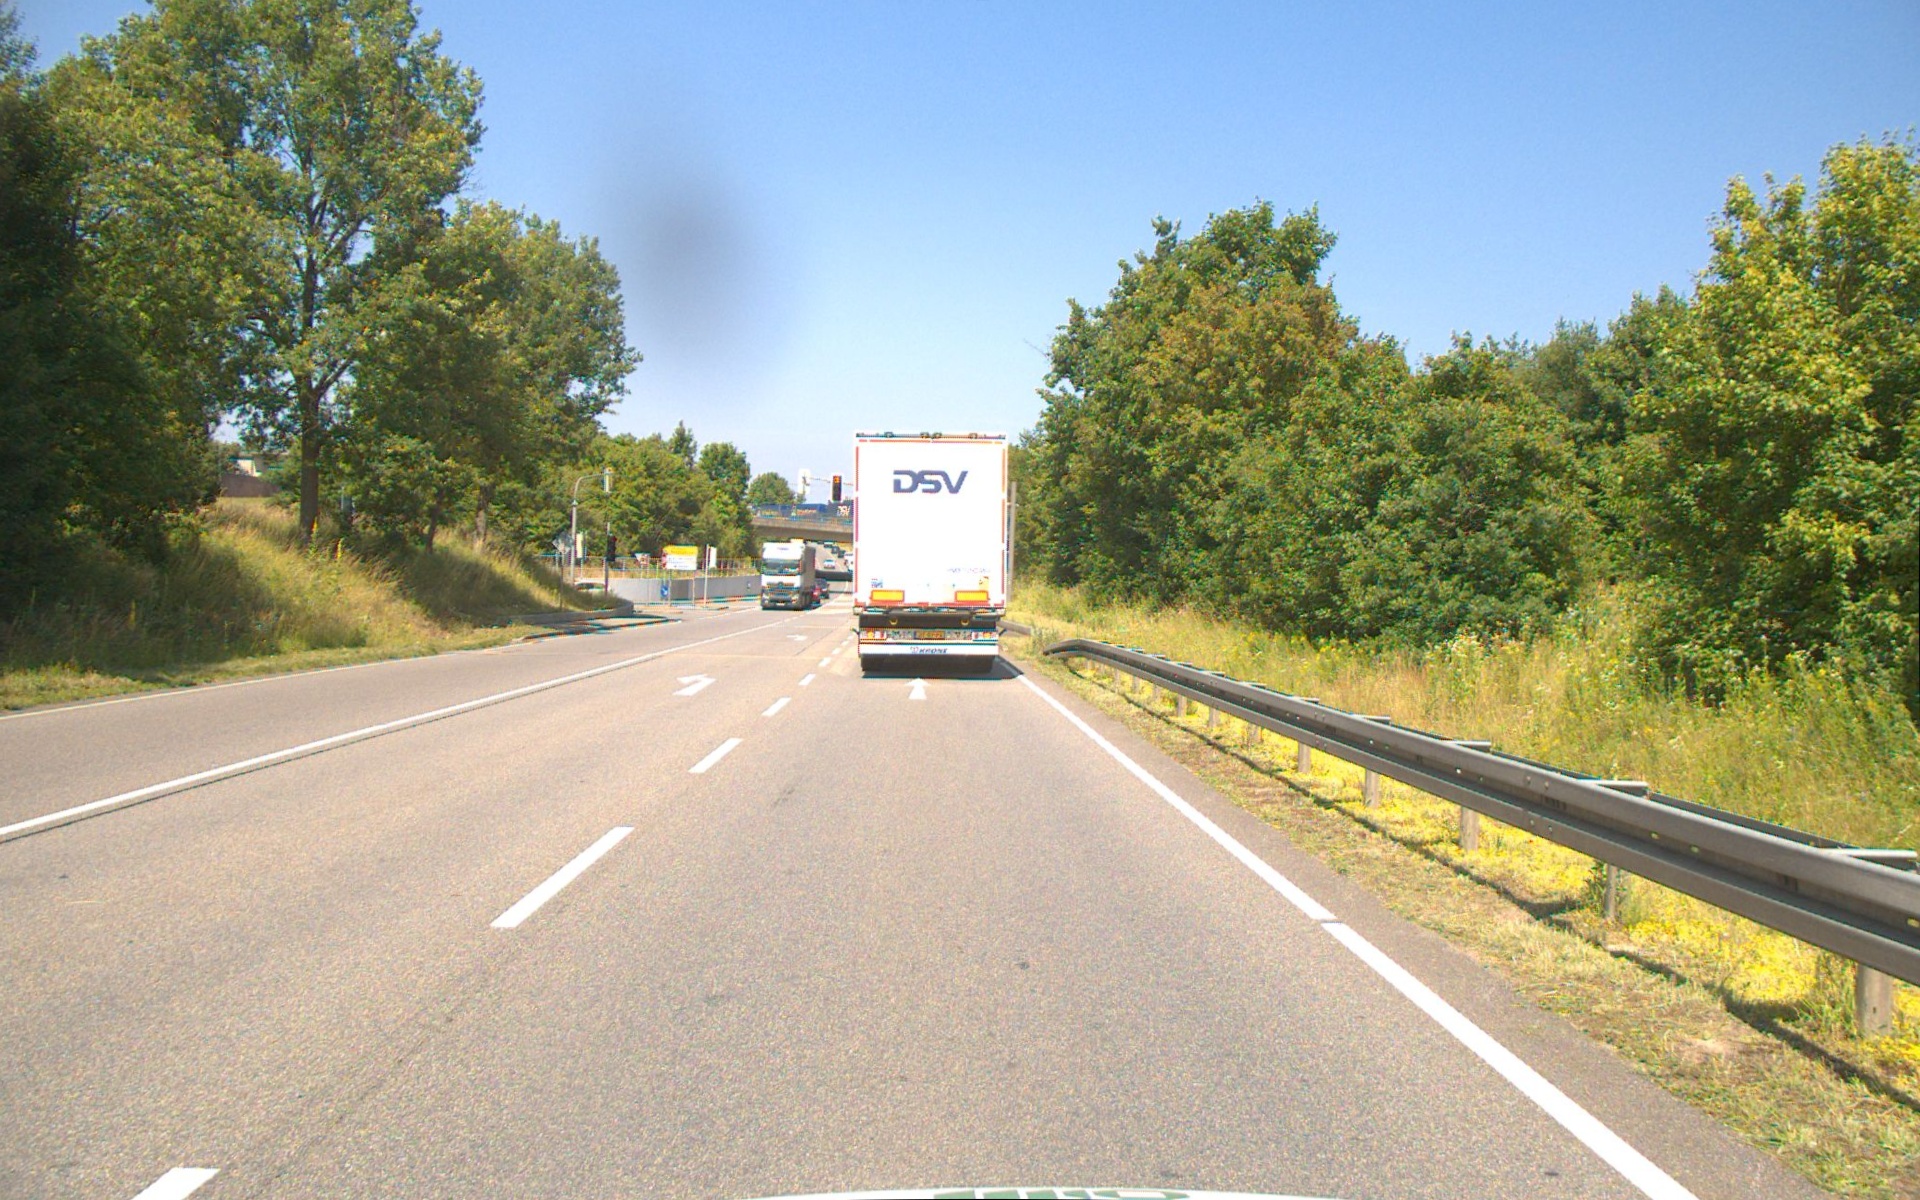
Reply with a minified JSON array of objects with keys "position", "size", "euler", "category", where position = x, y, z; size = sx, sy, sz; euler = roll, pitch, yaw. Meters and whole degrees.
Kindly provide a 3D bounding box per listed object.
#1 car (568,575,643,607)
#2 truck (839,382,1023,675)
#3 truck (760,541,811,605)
[{"position":[-21.510,-0.547,100.399],"size":[1.772,1.904,4.401],"euler":[1,1,37],"category":"car"},{"position":[-0.667,-1.177,31.485],"size":[2.891,4.648,9.858],"euler":[1,0,-2],"category":"truck"},{"position":[-11.015,-1.735,105.424],"size":[2.306,3.815,12.621],"euler":[1,1,-2],"category":"truck"}]
